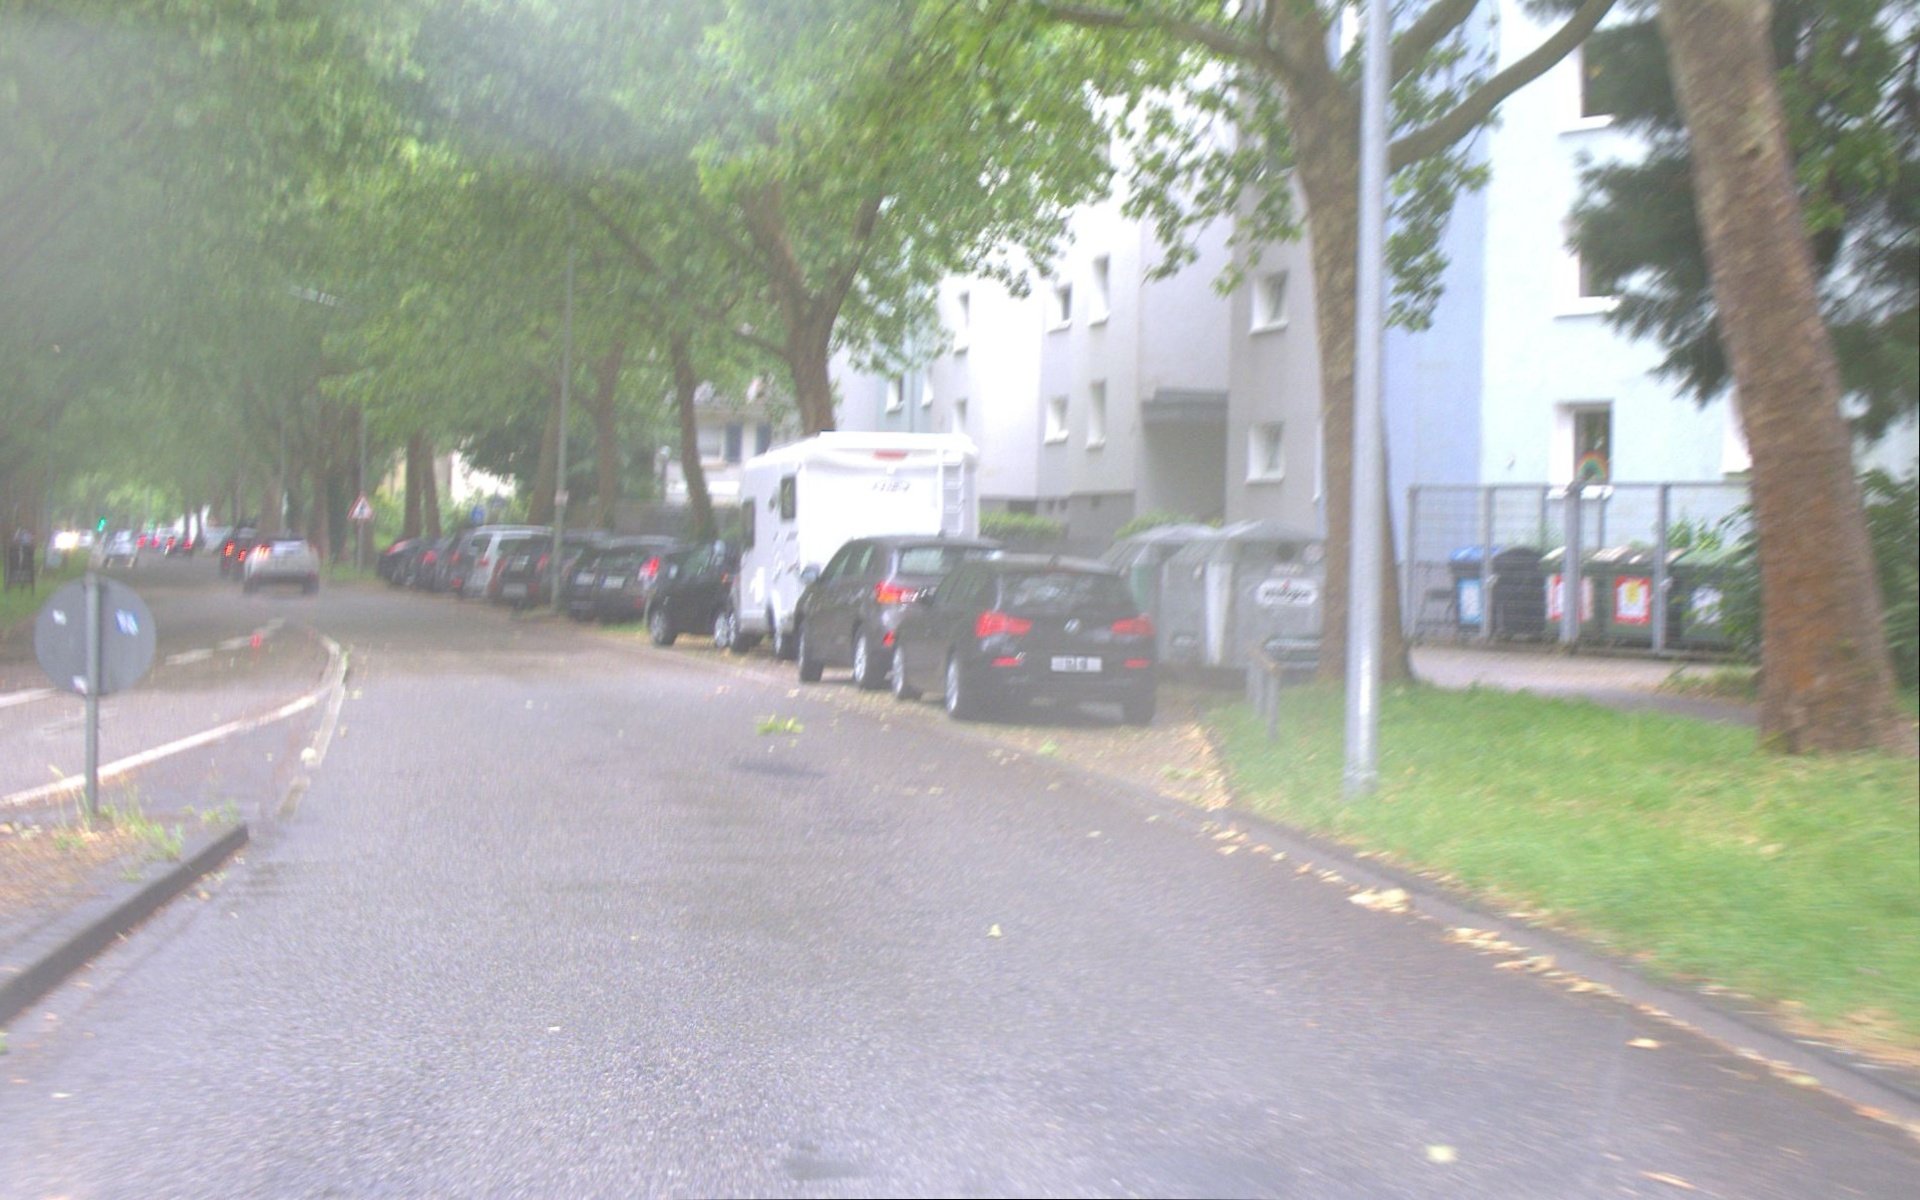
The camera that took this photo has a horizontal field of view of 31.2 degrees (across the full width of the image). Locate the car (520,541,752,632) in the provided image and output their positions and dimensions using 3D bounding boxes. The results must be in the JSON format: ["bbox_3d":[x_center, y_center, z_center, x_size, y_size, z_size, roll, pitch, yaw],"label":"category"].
[{"bbox_3d":[-6.274,-0.259,66.696,3.988,1.596,2.035,2,1,-41],"label":"car"}]

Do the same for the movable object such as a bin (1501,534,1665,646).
[{"bbox_3d":[8.489,-0.142,46.891,1.212,1.427,1.863,2,1,-31],"label":"movable object such as a bin"}]

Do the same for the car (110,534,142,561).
[{"bbox_3d":[-44.668,-2.830,184.194,1.678,1.384,4.551,0,1,-13],"label":"car"}]

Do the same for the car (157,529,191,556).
[{"bbox_3d":[-42.099,-3.109,184.010,1.705,1.406,3.646,-1,1,-14],"label":"car"}]

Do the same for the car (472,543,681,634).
[{"bbox_3d":[-7.741,-0.265,69.571,3.857,1.691,1.837,-2,3,-41],"label":"car"}]

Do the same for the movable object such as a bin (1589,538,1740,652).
[{"bbox_3d":[9.314,-0.065,45.463,1.317,1.427,1.370,2,1,-31],"label":"movable object such as a bin"}]

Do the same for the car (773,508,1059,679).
[{"bbox_3d":[-0.539,-0.045,36.113,1.915,1.615,4.455,2,-1,-15],"label":"car"}]

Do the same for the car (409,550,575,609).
[{"bbox_3d":[-12.158,-0.547,89.231,4.034,1.436,1.686,-1,2,-16],"label":"car"}]

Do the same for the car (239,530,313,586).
[{"bbox_3d":[-17.827,-1.100,89.463,1.705,1.406,3.646,-1,1,-14],"label":"car"}]

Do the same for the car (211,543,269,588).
[{"bbox_3d":[-23.561,-1.128,112.389,1.705,1.406,3.646,-1,1,-14],"label":"car"}]

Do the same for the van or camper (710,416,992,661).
[{"bbox_3d":[-1.523,-0.767,43.938,2.318,2.798,6.866,2,0,-12],"label":"van or camper"}]

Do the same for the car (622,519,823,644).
[{"bbox_3d":[-3.416,-0.280,49.176,1.686,1.647,2.947,2,1,-30],"label":"car"}]

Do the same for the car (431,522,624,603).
[{"bbox_3d":[-10.382,-0.898,82.469,4.336,1.756,1.819,2,1,-13],"label":"car"}]

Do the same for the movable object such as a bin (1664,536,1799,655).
[{"bbox_3d":[9.887,-0.072,44.061,1.158,1.468,1.223,-2,3,-32],"label":"movable object such as a bin"}]

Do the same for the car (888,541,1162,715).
[{"bbox_3d":[0.506,0.205,30.885,1.548,1.385,4.151,2,1,-11],"label":"car"}]

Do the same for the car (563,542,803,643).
[{"bbox_3d":[-4.730,-0.120,59.075,3.758,1.596,1.802,2,1,-44],"label":"car"}]

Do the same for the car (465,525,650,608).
[{"bbox_3d":[-9.276,-0.784,79.085,3.986,1.721,1.801,2,1,-13],"label":"car"}]

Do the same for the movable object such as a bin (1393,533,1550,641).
[{"bbox_3d":[7.184,-0.188,48.327,1.212,1.427,1.863,2,1,-31],"label":"movable object such as a bin"}]

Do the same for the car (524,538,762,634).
[{"bbox_3d":[-5.744,-0.246,62.551,3.989,1.596,1.802,2,1,-44],"label":"car"}]
